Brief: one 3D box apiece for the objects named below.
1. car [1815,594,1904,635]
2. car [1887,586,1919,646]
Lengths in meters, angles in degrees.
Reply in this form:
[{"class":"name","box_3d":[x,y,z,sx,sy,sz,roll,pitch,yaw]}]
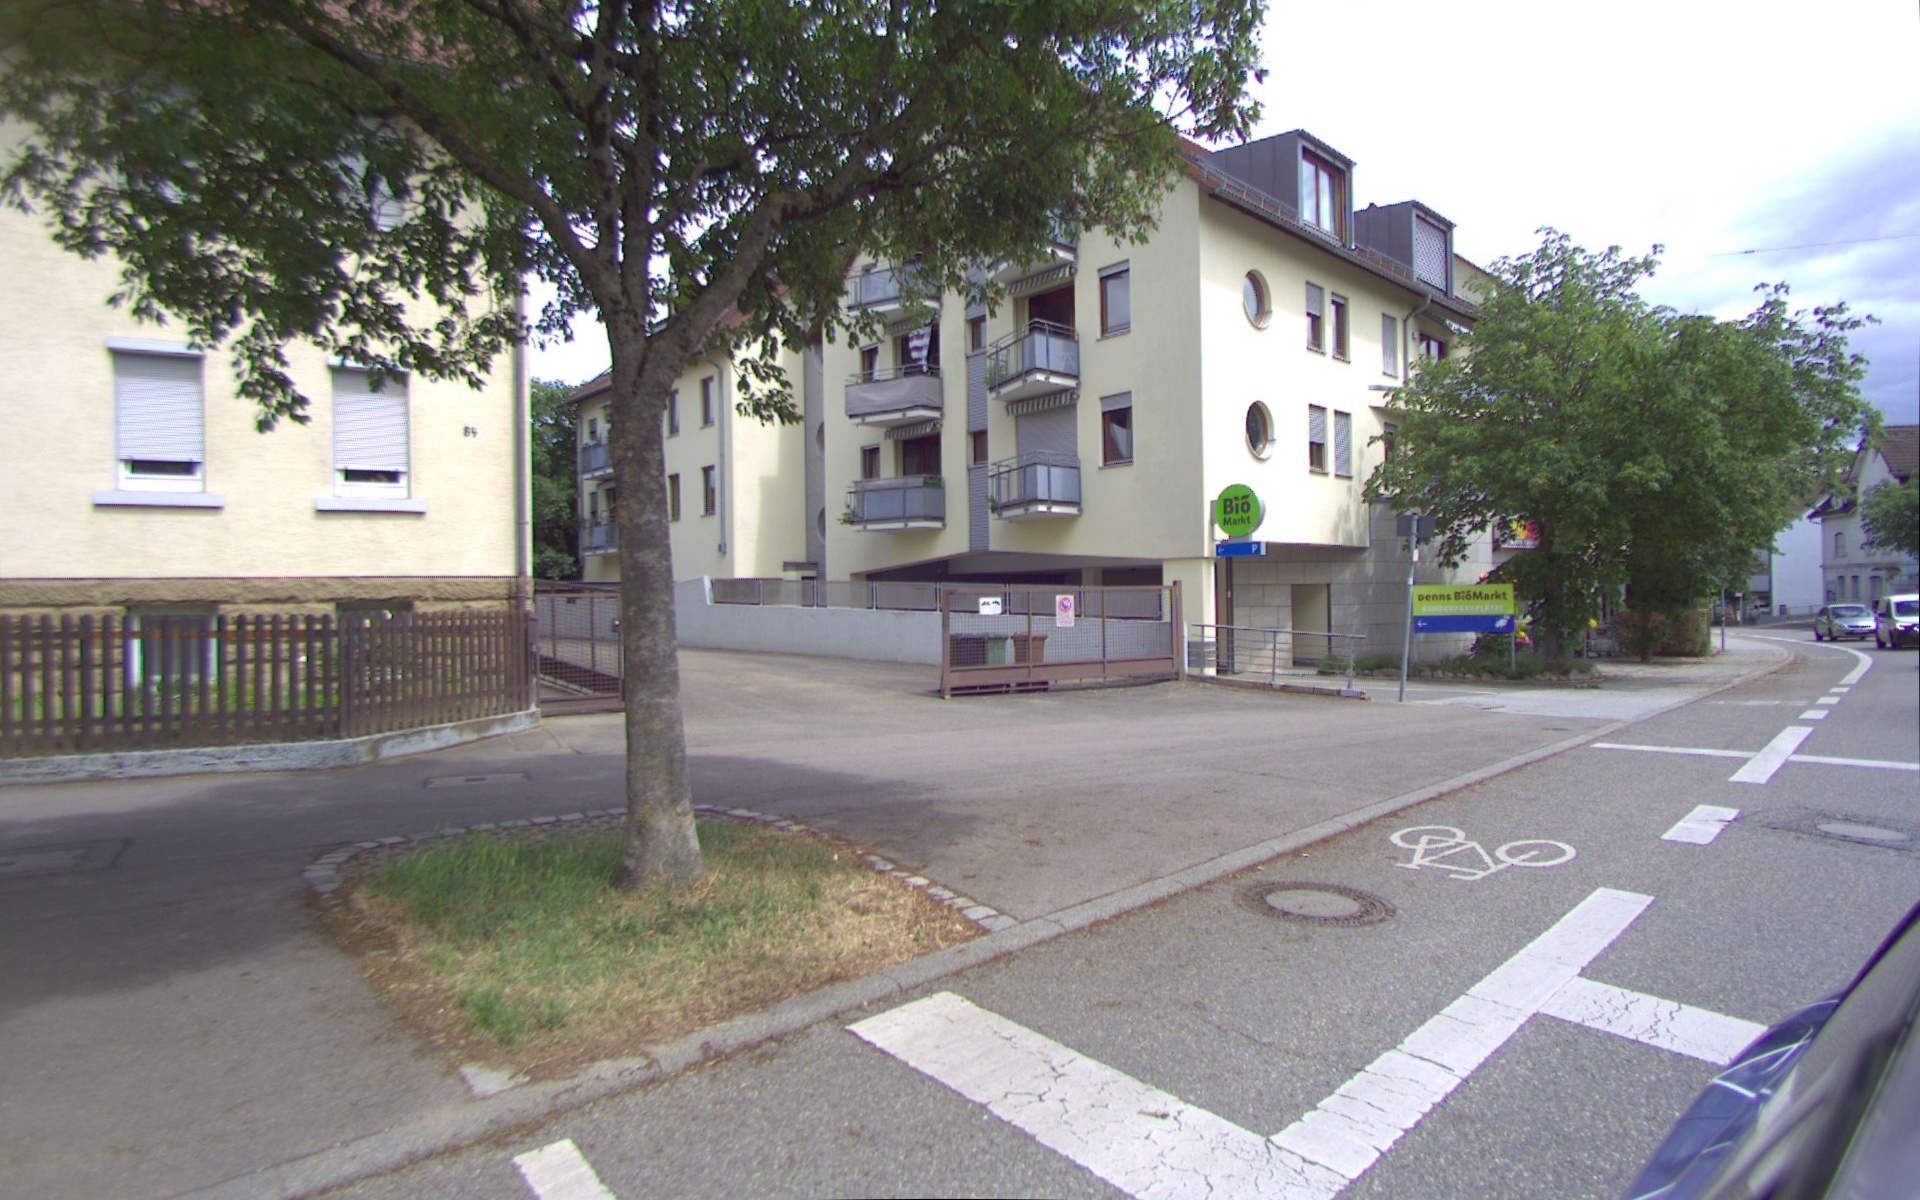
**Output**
[{"class":"car","box_3d":[36.981,0.567,41.712,1.678,1.505,3.962,-4,-2,27]},{"class":"car","box_3d":[31.605,0.469,33.025,1.845,1.839,3.939,-5,-2,42]}]
